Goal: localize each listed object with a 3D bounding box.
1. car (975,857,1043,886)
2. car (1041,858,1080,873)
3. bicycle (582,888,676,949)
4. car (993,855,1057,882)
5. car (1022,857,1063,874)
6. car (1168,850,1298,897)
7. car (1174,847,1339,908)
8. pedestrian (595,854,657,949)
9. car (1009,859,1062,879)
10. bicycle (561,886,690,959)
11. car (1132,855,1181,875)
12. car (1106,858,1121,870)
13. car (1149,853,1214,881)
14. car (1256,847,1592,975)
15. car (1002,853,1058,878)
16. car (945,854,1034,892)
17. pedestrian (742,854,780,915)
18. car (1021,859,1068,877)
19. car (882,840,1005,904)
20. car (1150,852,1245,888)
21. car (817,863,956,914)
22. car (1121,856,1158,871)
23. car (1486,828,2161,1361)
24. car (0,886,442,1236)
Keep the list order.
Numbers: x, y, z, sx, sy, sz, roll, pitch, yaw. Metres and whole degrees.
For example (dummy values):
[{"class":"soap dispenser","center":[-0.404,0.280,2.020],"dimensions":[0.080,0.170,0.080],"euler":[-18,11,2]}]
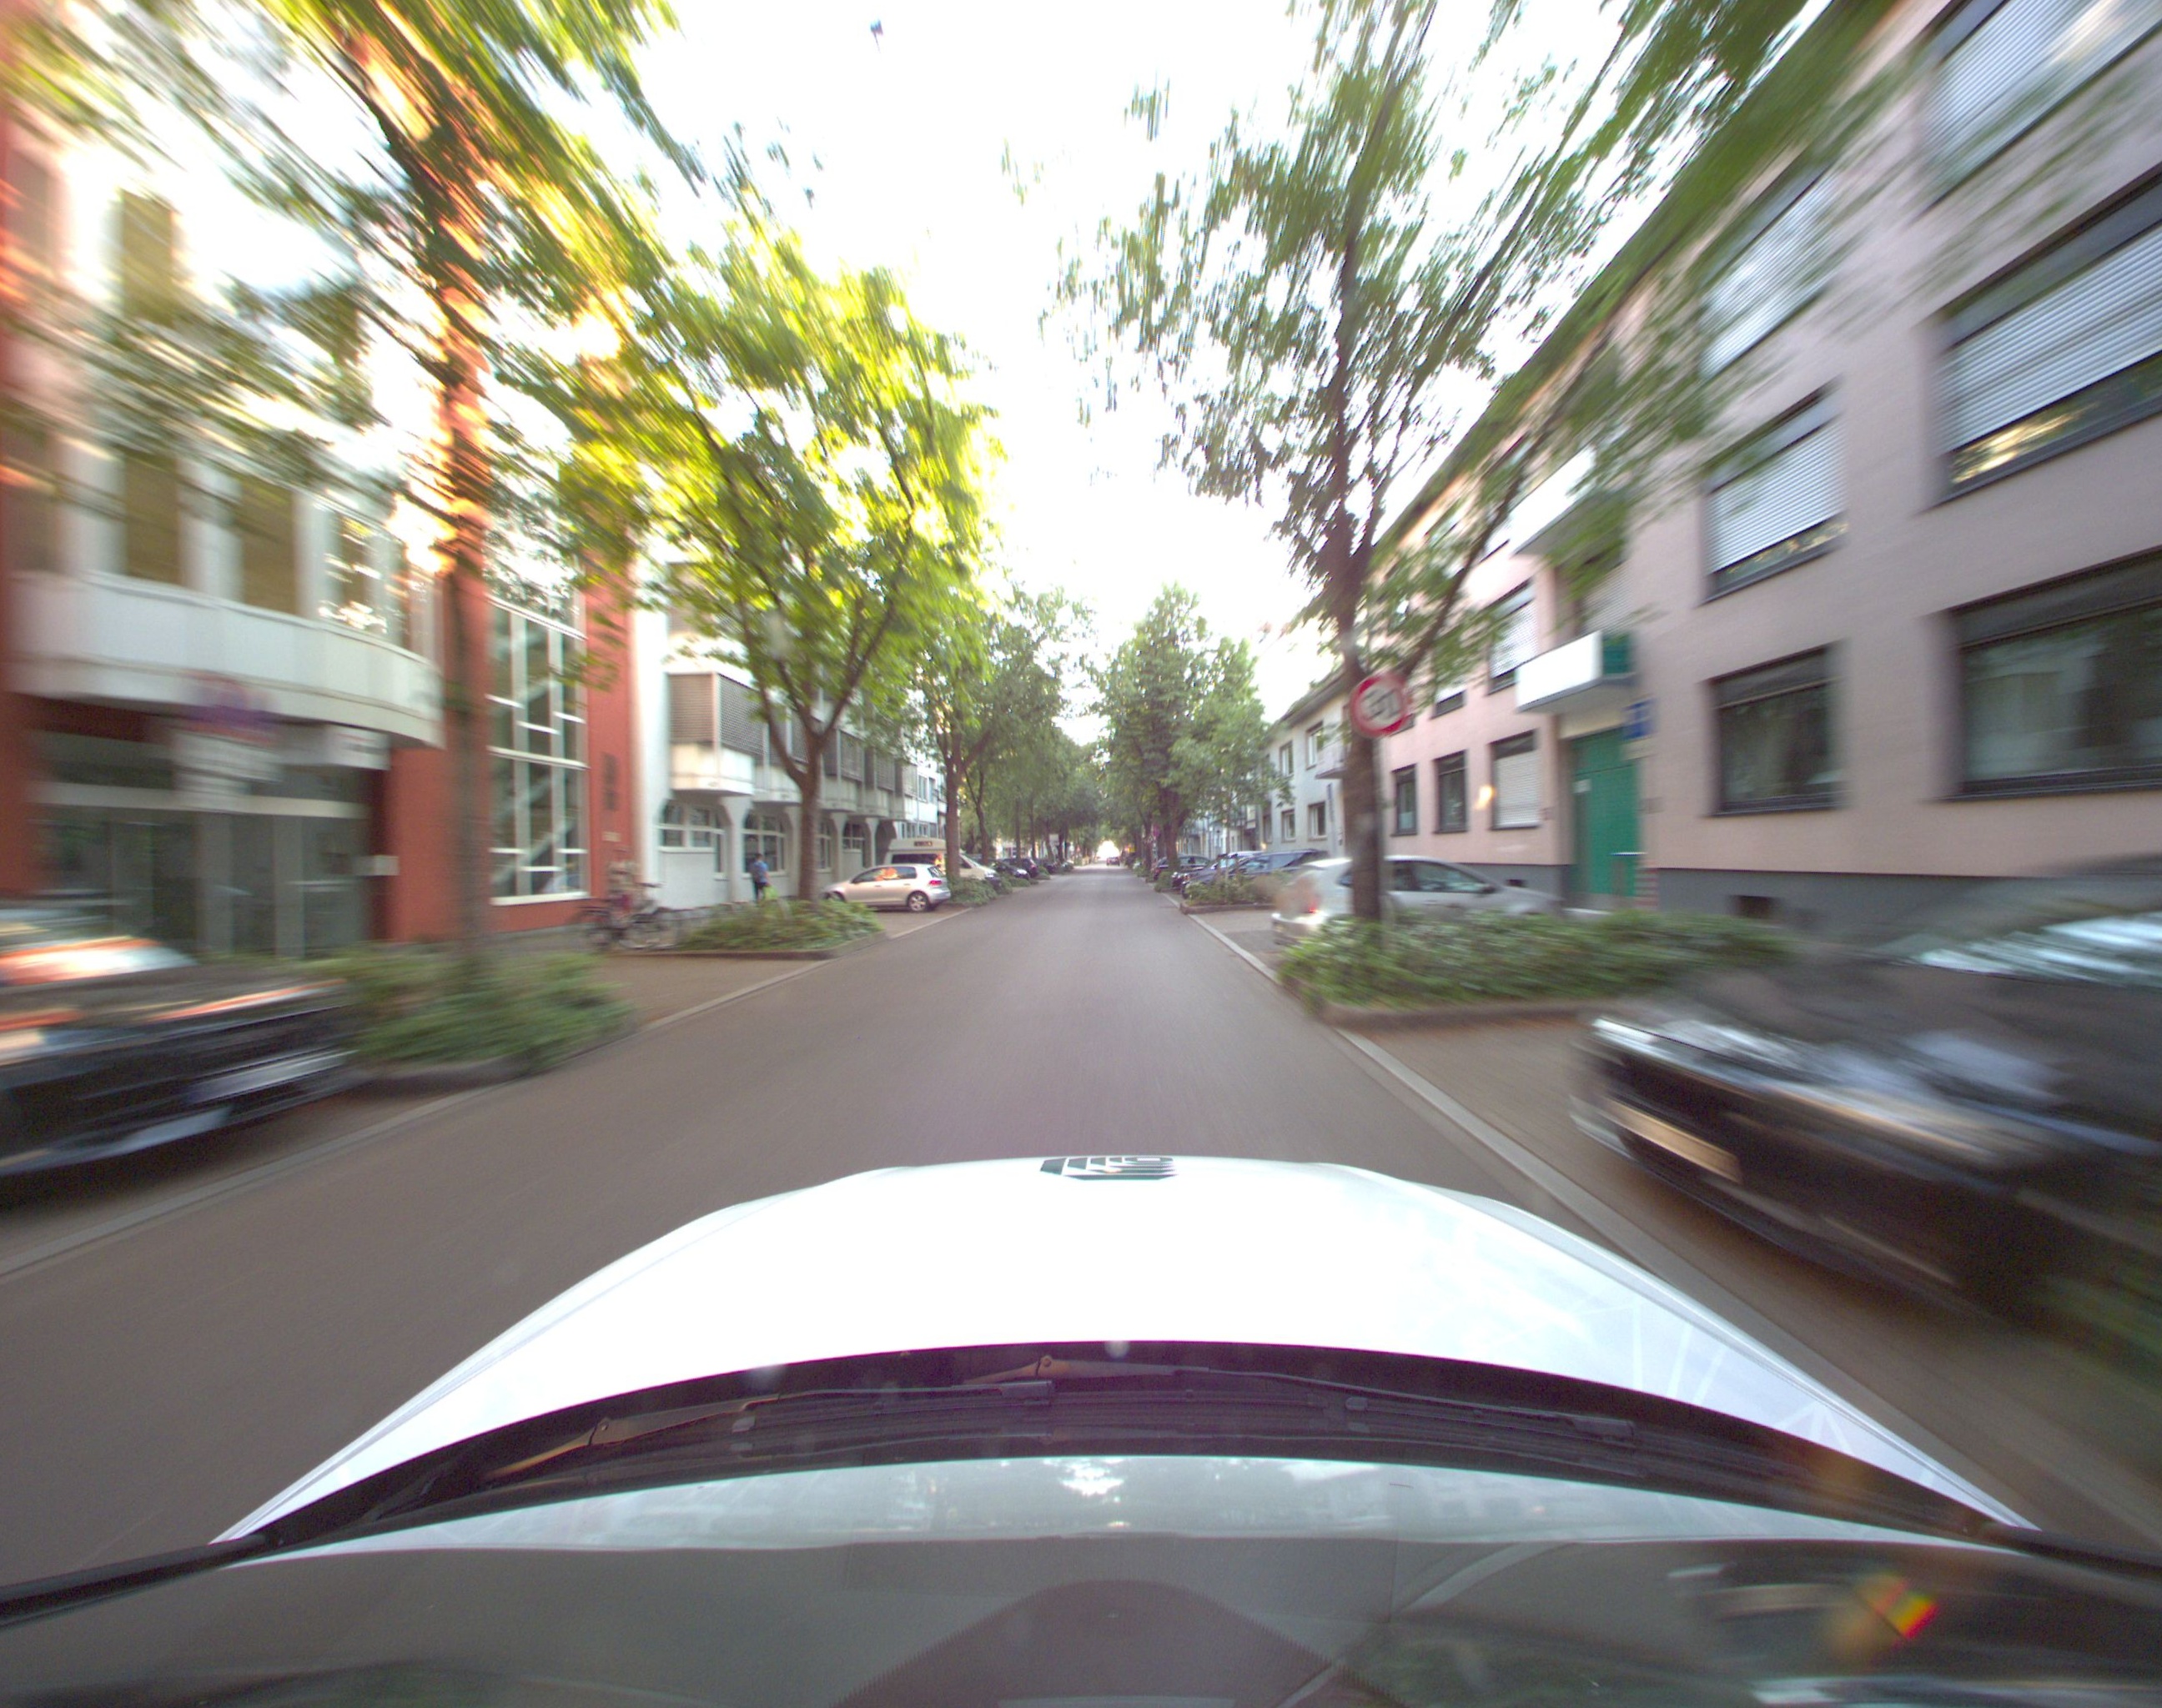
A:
[{"class":"car","center":[-4.753,1.159,53.994],"dimensions":[4.187,1.635,1.964],"euler":[-3,-1,1]},{"class":"car","center":[-2.529,1.410,101.571],"dimensions":[4.744,1.630,1.964],"euler":[-3,-1,1]},{"class":"bicycle","center":[-8.131,1.138,14.634],"dimensions":[1.778,1.029,0.503],"euler":[-1,0,24]},{"class":"car","center":[-4.209,1.096,61.681],"dimensions":[4.578,1.807,1.964],"euler":[-3,-1,1]},{"class":"car","center":[-3.893,1.181,83.442],"dimensions":[3.972,1.510,1.801],"euler":[-3,-1,1]},{"class":"car","center":[5.803,0.749,31.533],"dimensions":[4.665,1.521,1.964],"euler":[-3,-1,1]},{"class":"car","center":[5.271,0.675,25.013],"dimensions":[4.697,1.710,1.952],"euler":[-1,0,3]},{"class":"pedestrian","center":[-8.624,0.879,15.439],"dimensions":[0.697,1.757,0.744],"euler":[-1,-1,25]},{"class":"car","center":[-4.298,1.419,77.466],"dimensions":[4.744,1.630,1.964],"euler":[-3,-1,1]},{"class":"bicycle","center":[-7.485,1.110,13.460],"dimensions":[1.801,1.107,0.496],"euler":[0,0,-22]},{"class":"car","center":[6.816,1.009,73.580],"dimensions":[4.252,1.565,1.964],"euler":[-3,-1,1]},{"class":"car","center":[4.663,1.482,117.111],"dimensions":[1.949,1.565,4.284],"euler":[-3,-1,2]},{"class":"car","center":[6.577,0.824,53.552],"dimensions":[4.035,1.597,1.826],"euler":[-3,-1,1]},{"class":"car","center":[4.586,0.723,11.312],"dimensions":[3.866,1.439,1.847],"euler":[-3,0,-2]},{"class":"car","center":[-4.506,1.045,73.151],"dimensions":[4.744,1.984,1.964],"euler":[-3,-1,1]},{"class":"car","center":[-5.159,1.059,46.275],"dimensions":[4.665,1.854,1.964],"euler":[-3,-1,1]},{"class":"pedestrian","center":[-9.315,0.862,23.722],"dimensions":[0.700,1.728,0.905],"euler":[-1,-1,2]},{"class":"car","center":[-3.812,1.473,85.915],"dimensions":[4.744,1.630,1.964],"euler":[-3,-1,1]},{"class":"car","center":[-5.657,0.747,33.823],"dimensions":[4.664,2.478,2.001],"euler":[-1,-1,1]},{"class":"car","center":[5.728,0.794,40.452],"dimensions":[4.486,1.521,1.998],"euler":[-3,-1,5]},{"class":"car","center":[-6.012,1.064,25.505],"dimensions":[3.854,1.486,1.758],"euler":[-1,0,3]},{"class":"car","center":[6.934,1.138,96.672],"dimensions":[4.252,1.565,1.964],"euler":[-3,-1,1]},{"class":"car","center":[4.517,0.635,3.316],"dimensions":[4.693,1.421,2.036],"euler":[-3,0,1]},{"class":"car","center":[-6.460,0.985,4.627],"dimensions":[4.113,1.486,1.930],"euler":[-1,0,1]}]
